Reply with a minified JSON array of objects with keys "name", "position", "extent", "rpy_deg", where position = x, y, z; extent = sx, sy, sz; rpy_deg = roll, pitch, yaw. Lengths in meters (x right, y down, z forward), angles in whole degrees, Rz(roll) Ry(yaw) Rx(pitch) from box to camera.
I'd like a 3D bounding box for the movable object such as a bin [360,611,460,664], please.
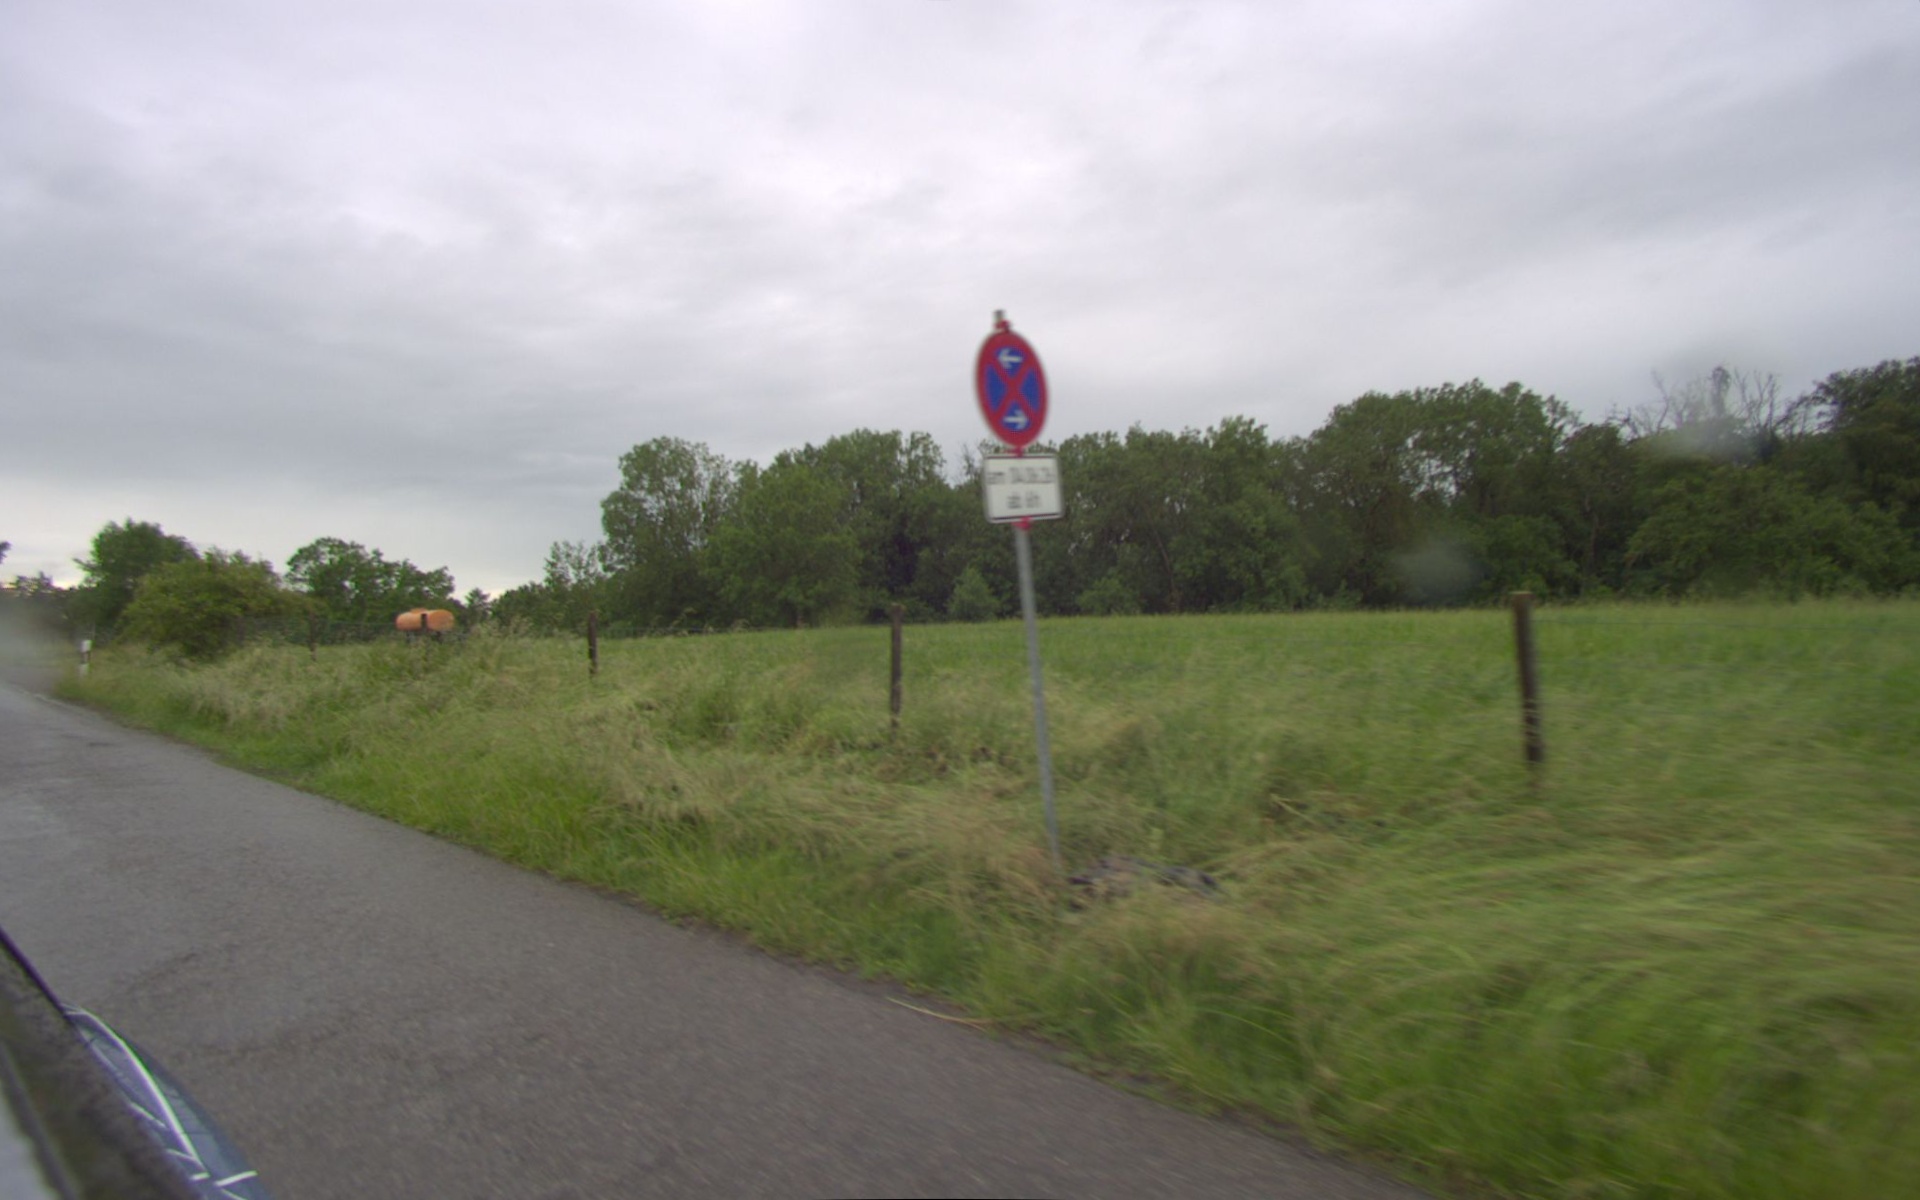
[{"name":"movable object such as a bin","position":[-17.932,1.199,32.952],"extent":[3.535,1.582,1.662],"rpy_deg":[-1,0,40]}]
